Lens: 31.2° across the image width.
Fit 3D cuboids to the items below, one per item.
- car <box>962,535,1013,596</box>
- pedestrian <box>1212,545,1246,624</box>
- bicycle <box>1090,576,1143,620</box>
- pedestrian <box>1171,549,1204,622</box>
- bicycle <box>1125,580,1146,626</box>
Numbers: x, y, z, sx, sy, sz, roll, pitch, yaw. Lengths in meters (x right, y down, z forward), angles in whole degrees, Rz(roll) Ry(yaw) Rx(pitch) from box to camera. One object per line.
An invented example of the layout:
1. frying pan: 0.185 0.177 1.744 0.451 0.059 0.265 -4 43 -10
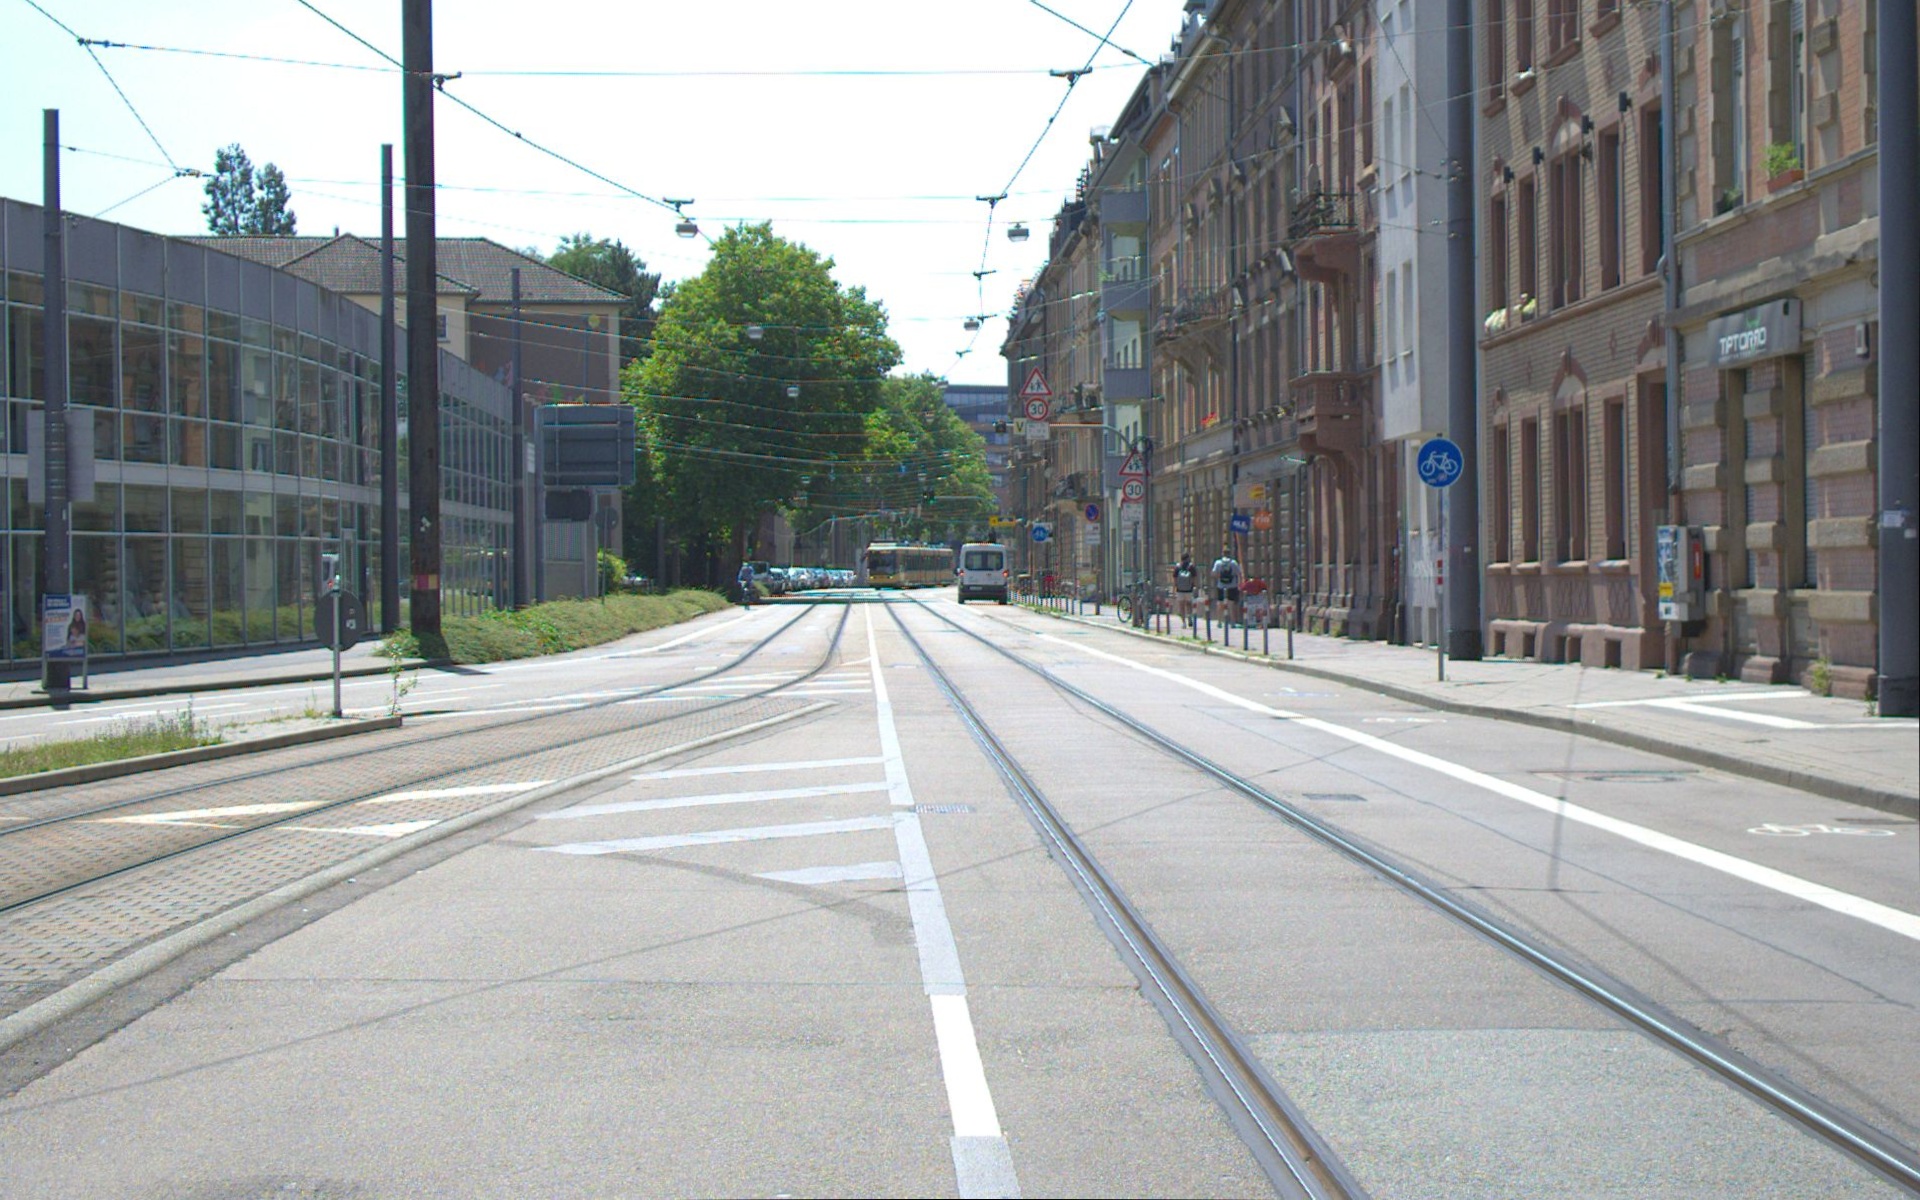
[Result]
1. car: 1.152 -1.458 145.606 2.067 2.492 5.454 0 0 0
2. pedestrian: 6.325 -0.361 80.976 0.702 1.842 0.643 -2 0 0
3. bicycle: 4.153 -0.054 91.220 0.499 1.127 2.240 -1 0 27
4. pedestrian: 5.371 -0.345 81.116 0.720 1.714 0.643 -1 0 0
5. bicycle: 4.269 0.065 83.766 0.447 1.093 2.422 -1 0 4
